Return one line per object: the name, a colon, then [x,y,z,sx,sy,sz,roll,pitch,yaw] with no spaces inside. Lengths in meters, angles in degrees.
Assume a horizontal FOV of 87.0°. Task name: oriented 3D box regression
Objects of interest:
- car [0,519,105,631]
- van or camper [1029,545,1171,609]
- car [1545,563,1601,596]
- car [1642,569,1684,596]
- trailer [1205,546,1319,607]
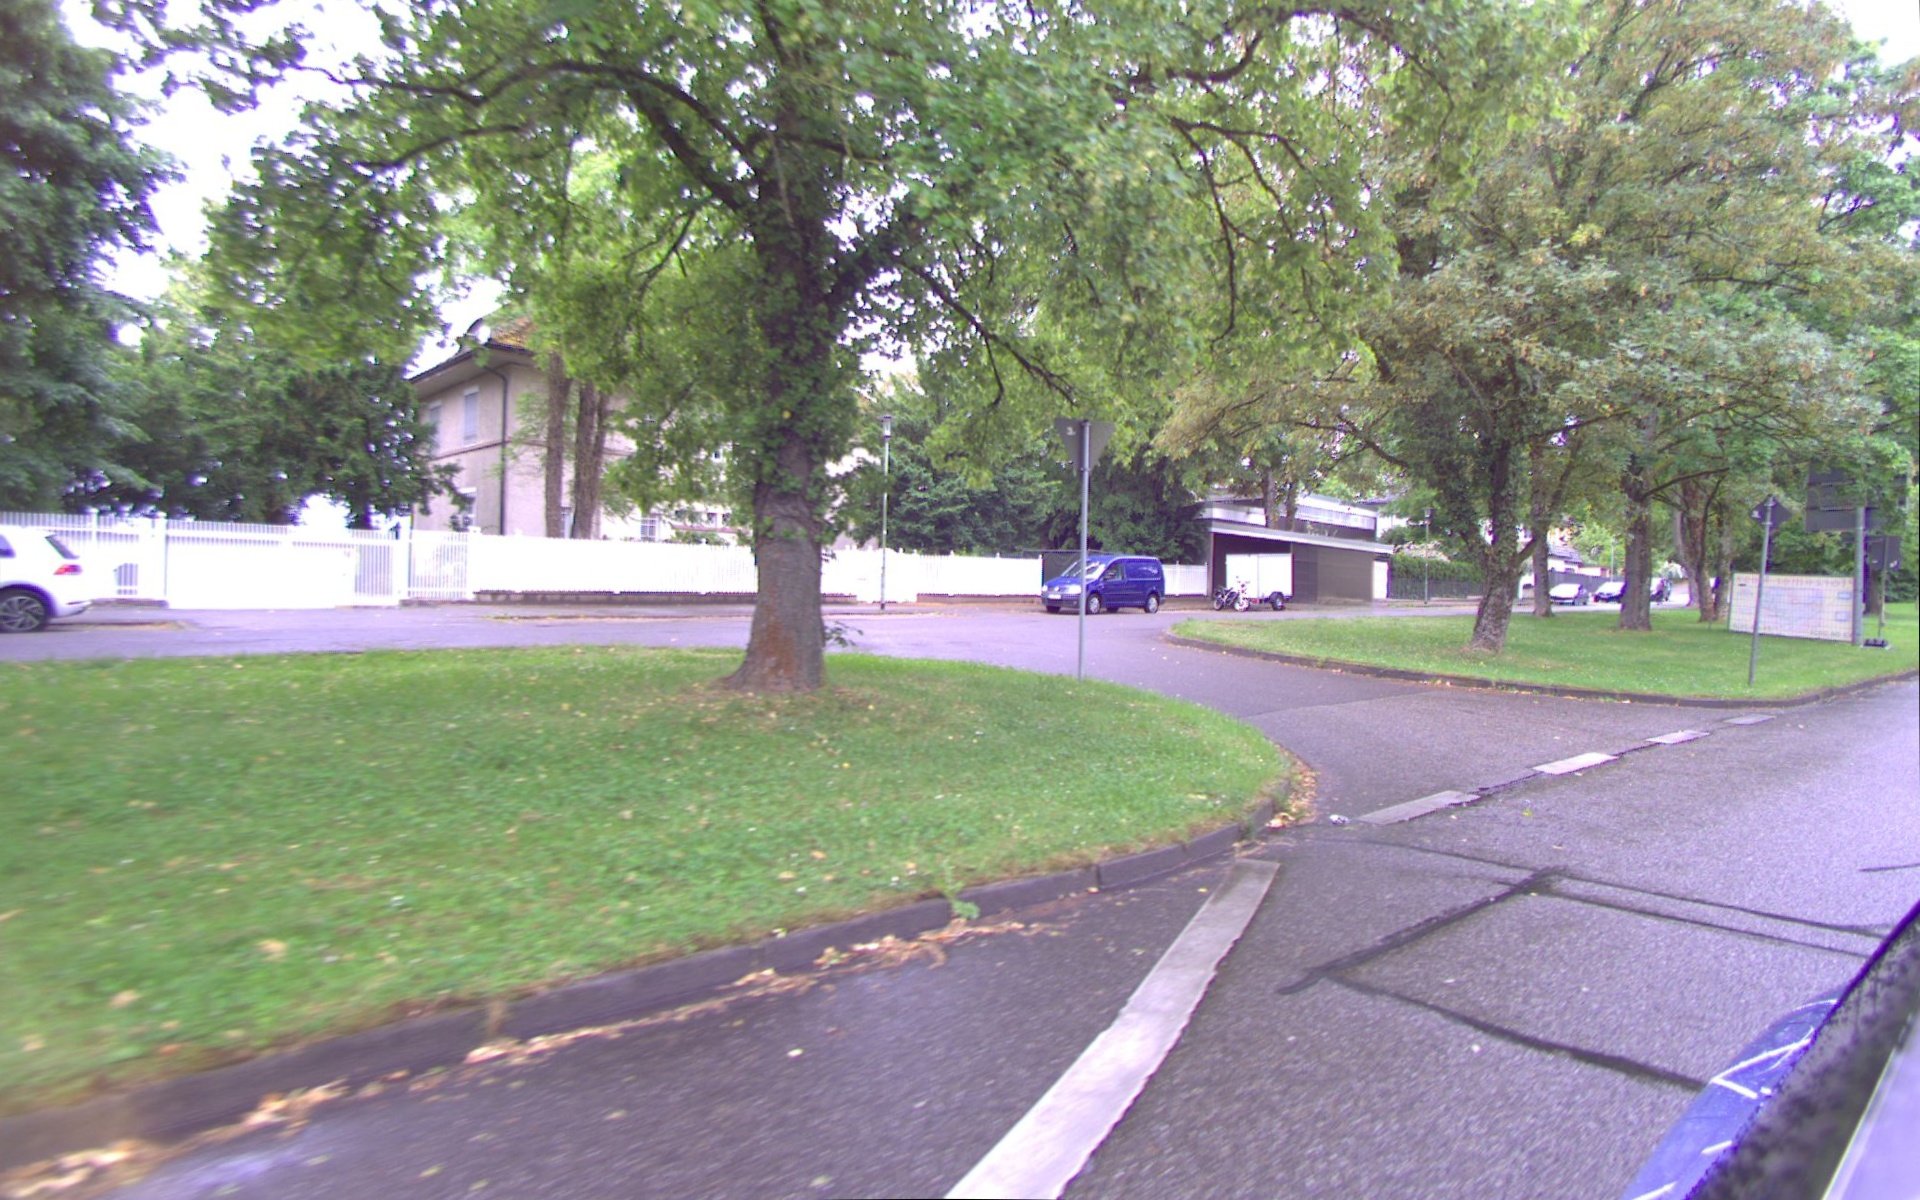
car: [-13.956,-0.313,13.280,4.057,1.467,1.994,-1,0,-45]
van or camper: [4.409,-0.688,31.327,1.994,1.831,4.700,0,0,44]
car: [40.537,-1.353,66.903,3.931,2.038,1.997,0,2,-41]
car: [57.736,-1.432,83.101,3.932,2.039,1.996,2,1,-43]
trailer: [11.311,-0.850,37.719,5.107,2.143,1.768,-1,0,-44]
